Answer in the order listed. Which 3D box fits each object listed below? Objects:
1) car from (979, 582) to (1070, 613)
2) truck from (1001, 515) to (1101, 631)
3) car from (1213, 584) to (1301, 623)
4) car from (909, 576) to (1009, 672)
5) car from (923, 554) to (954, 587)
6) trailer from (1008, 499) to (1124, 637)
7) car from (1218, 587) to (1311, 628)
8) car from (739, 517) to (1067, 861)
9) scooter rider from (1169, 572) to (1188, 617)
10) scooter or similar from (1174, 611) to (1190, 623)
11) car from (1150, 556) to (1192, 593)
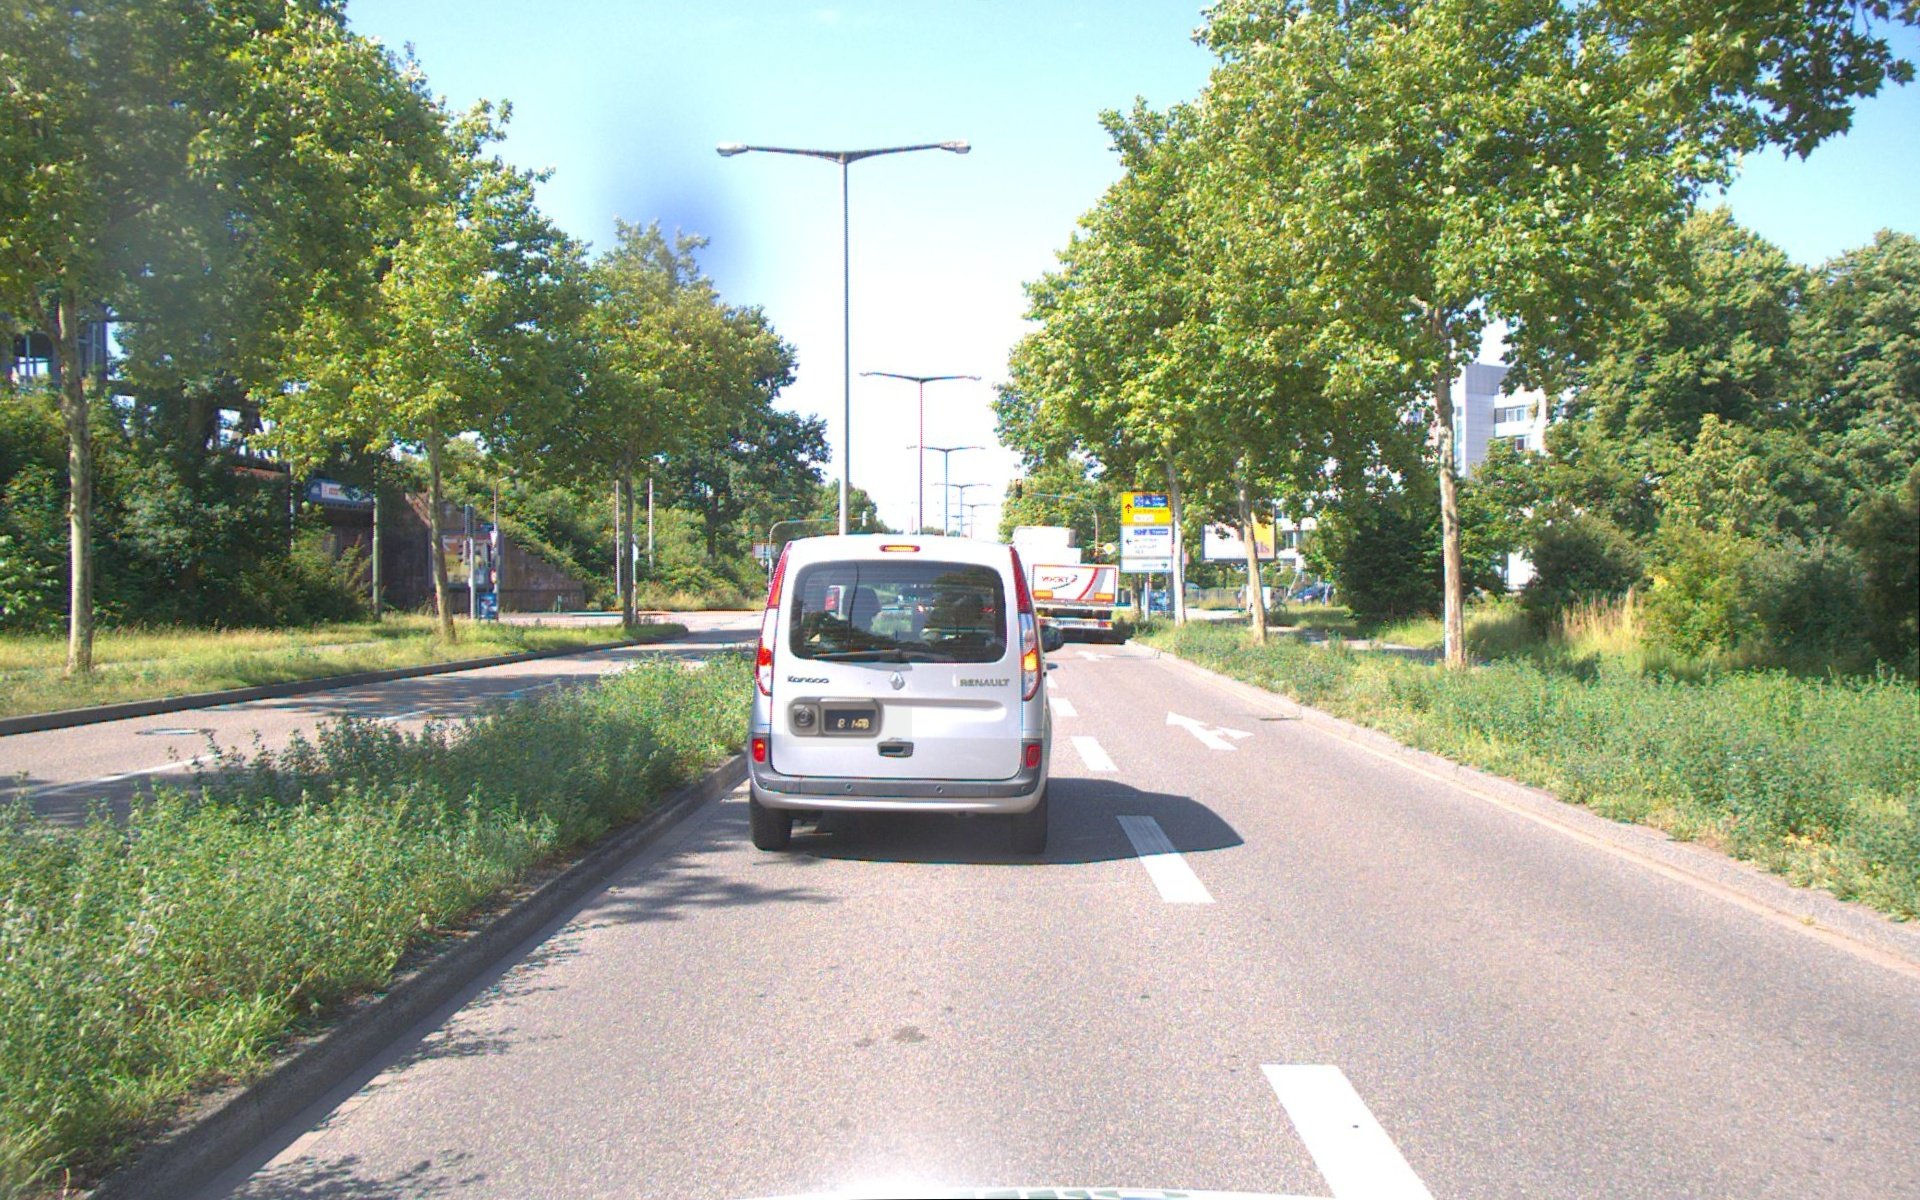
[{"bbox_3d":[3.321,-0.129,84.790,4.382,1.452,1.717,1,0,-25],"label":"car"},{"bbox_3d":[3.159,-0.913,59.181,3.009,3.823,7.475,1,0,-1],"label":"truck"},{"bbox_3d":[13.832,0.162,77.163,3.903,1.691,1.724,1,0,5],"label":"car"},{"bbox_3d":[-0.074,0.435,32.253,1.773,1.713,3.998,1,0,-2],"label":"car"},{"bbox_3d":[-1.447,-1.934,108.501,1.680,2.049,3.996,1,0,-5],"label":"car"},{"bbox_3d":[3.157,-0.896,52.654,2.954,3.806,12.240,1,0,0],"label":"trailer"},{"bbox_3d":[13.509,0.339,73.551,3.903,1.691,1.724,1,0,5],"label":"car"},{"bbox_3d":[-0.308,0.475,10.831,1.713,1.803,3.949,1,0,0],"label":"car"},{"bbox_3d":[6.752,-0.168,51.157,0.487,1.361,0.563,1,0,-2],"label":"scooter rider"},{"bbox_3d":[6.867,0.532,51.172,0.371,0.364,0.556,1,0,-2],"label":"scooter or similar"},{"bbox_3d":[10.753,-1.288,84.593,1.778,1.826,3.444,1,0,2],"label":"car"}]
